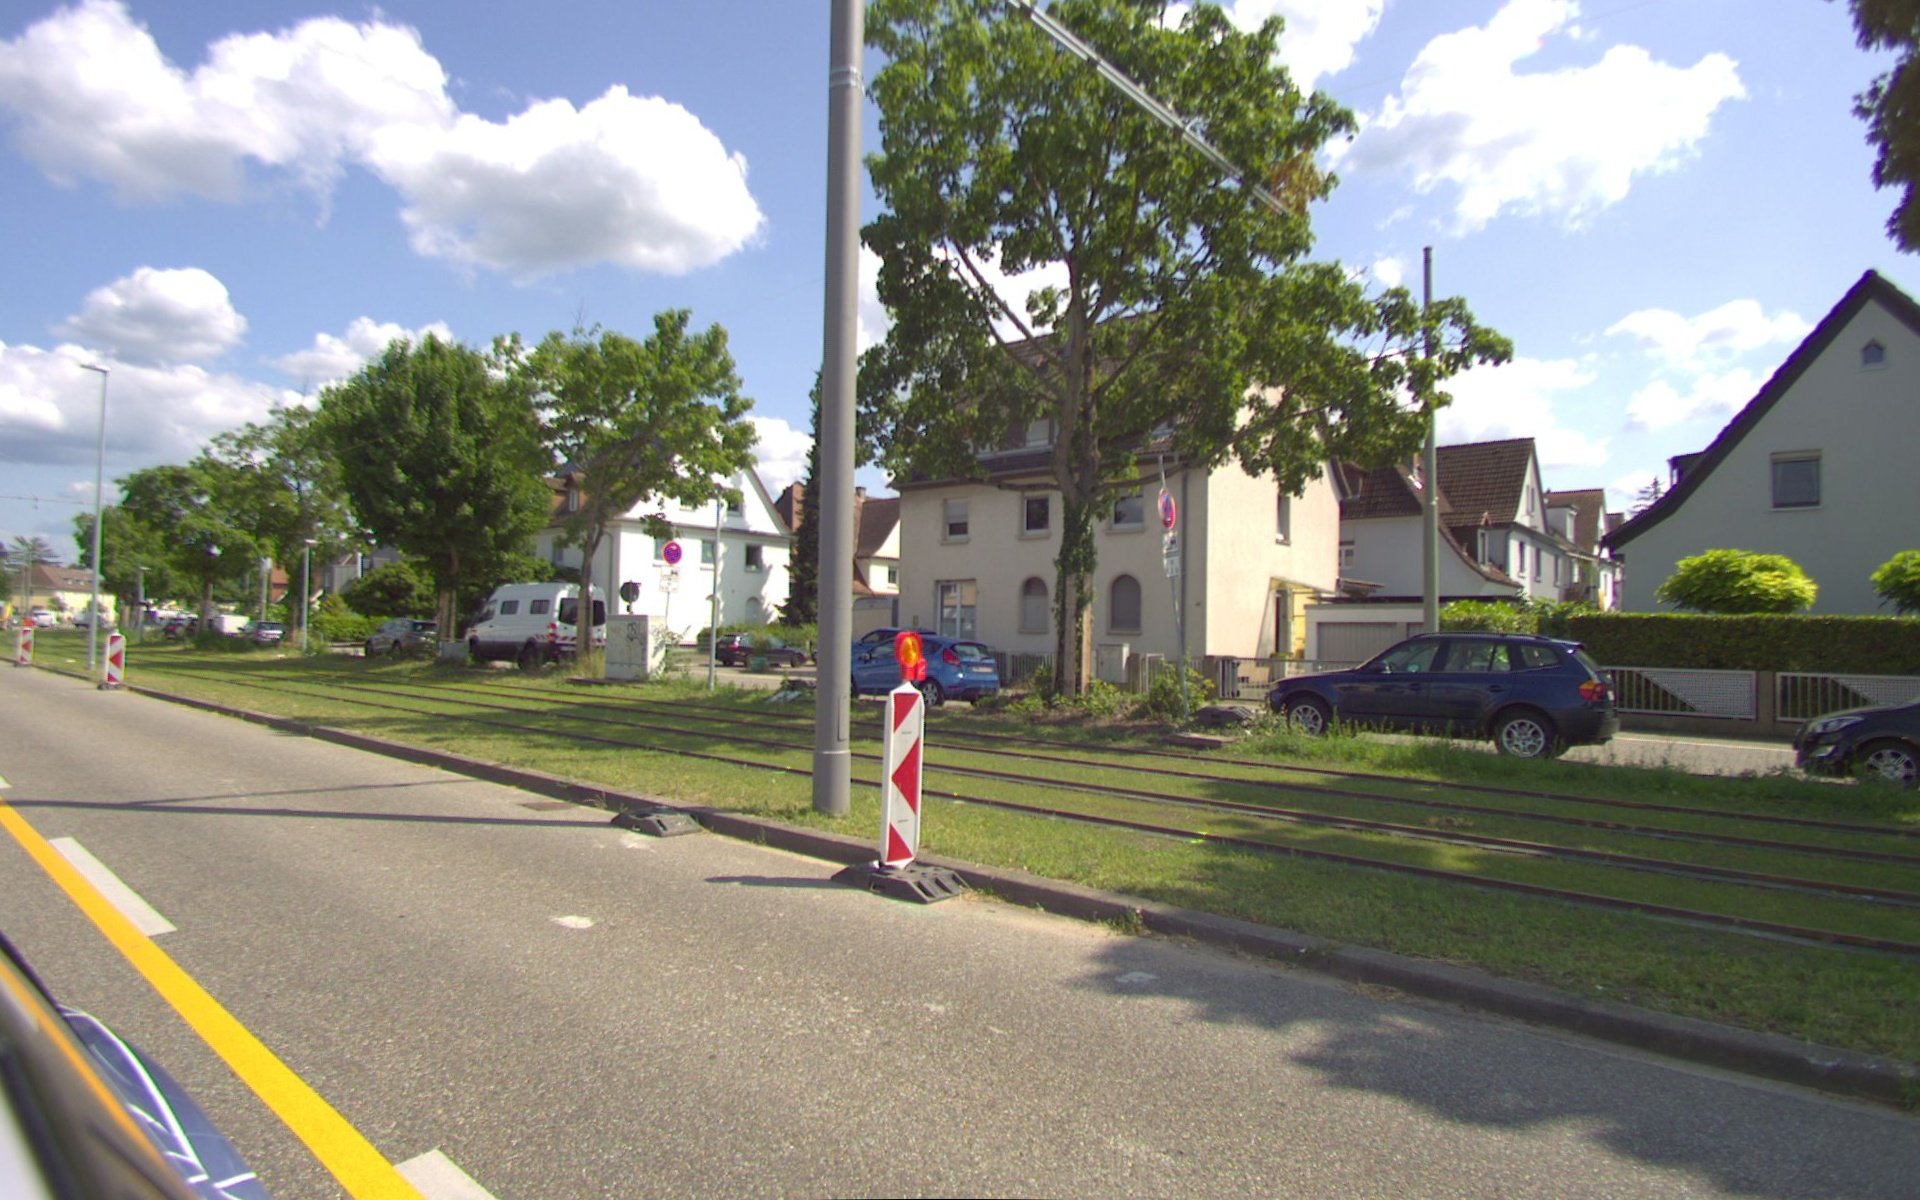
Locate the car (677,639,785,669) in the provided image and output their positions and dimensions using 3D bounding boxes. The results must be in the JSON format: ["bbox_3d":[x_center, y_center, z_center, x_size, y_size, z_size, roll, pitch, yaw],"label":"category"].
[{"bbox_3d":[-9.551,2.270,42.414,2.045,1.170,3.945,0,-3,41],"label":"car"}]

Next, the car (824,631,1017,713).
[{"bbox_3d":[-0.888,1.431,20.883,3.890,1.446,1.734,0,-3,43],"label":"car"}]

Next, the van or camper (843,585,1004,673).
[{"bbox_3d":[-1.340,1.197,40.734,2.633,3.246,6.658,-1,-3,41],"label":"van or camper"}]

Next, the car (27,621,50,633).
[{"bbox_3d":[-125.571,3.678,137.911,1.489,1.510,3.585,3,-3,-29],"label":"car"}]

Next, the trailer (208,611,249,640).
[{"bbox_3d":[-39.672,1.387,54.878,2.281,1.530,1.286,0,-3,41],"label":"trailer"}]

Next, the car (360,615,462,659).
[{"bbox_3d":[-21.003,1.394,38.653,4.485,1.517,1.972,0,-3,42],"label":"car"}]

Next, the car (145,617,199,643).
[{"bbox_3d":[-50.984,1.928,65.462,4.321,1.551,1.972,0,-3,42],"label":"car"}]

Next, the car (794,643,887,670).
[{"bbox_3d":[-5.504,2.609,46.914,1.999,1.143,3.945,0,-3,41],"label":"car"}]

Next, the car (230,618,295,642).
[{"bbox_3d":[-35.423,1.518,51.371,3.834,1.101,1.762,0,-3,41],"label":"car"}]

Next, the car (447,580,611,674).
[{"bbox_3d":[-13.869,0.865,32.315,6.456,2.751,1.974,-1,-3,39],"label":"car"}]

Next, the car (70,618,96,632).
[{"bbox_3d":[-131.336,3.710,151.593,1.811,2.070,3.881,3,-3,-24],"label":"car"}]

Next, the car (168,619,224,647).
[{"bbox_3d":[-46.869,2.055,62.040,4.099,1.590,1.885,-2,-7,42],"label":"car"}]

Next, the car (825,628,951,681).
[{"bbox_3d":[-2.418,1.786,33.605,3.999,1.589,1.882,0,-3,42],"label":"car"}]

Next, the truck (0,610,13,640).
[{"bbox_3d":[-111.250,2.813,115.934,2.660,3.391,8.070,3,-3,-34],"label":"truck"}]

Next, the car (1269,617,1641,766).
[{"bbox_3d":[6.847,1.157,14.199,4.386,1.704,1.974,0,-3,38],"label":"car"}]

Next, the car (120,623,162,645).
[{"bbox_3d":[-63.874,2.627,78.872,4.324,1.551,1.971,0,-3,44],"label":"car"}]

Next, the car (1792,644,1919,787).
[{"bbox_3d":[11.346,1.280,10.625,3.998,1.450,1.973,0,-4,41],"label":"car"}]
